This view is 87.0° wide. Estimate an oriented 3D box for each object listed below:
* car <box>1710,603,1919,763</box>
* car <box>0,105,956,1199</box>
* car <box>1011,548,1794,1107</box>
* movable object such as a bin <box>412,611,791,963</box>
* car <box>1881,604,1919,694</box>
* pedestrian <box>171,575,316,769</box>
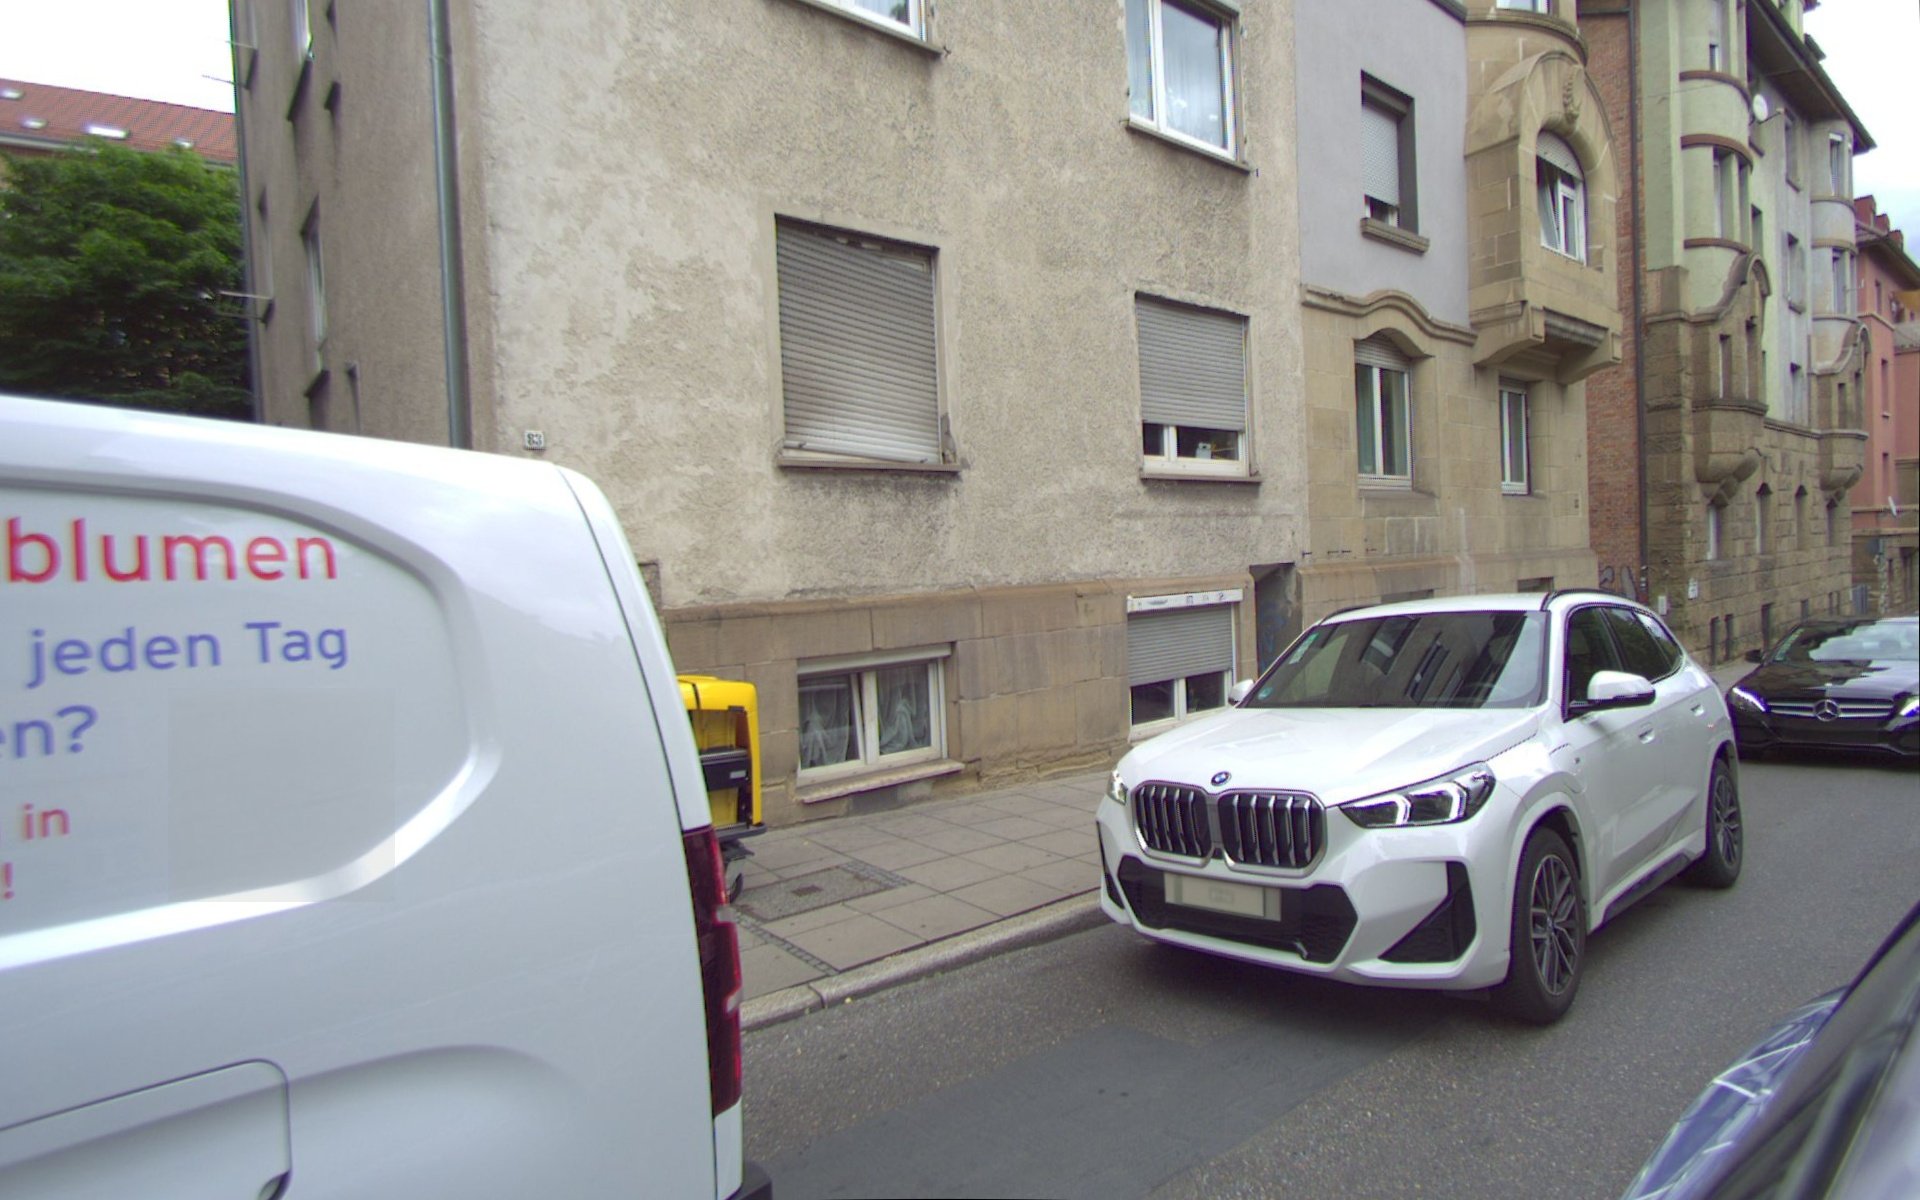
[{"bbox_3d":[9.601,0.749,10.537,4.204,1.387,1.852,0,-4,-39],"label":"car"},{"bbox_3d":[-2.539,0.621,0.553,4.927,1.848,1.855,-2,0,-36],"label":"car"},{"bbox_3d":[2.537,0.718,5.160,4.483,1.626,1.851,0,-4,-41],"label":"car"},{"bbox_3d":[-1.770,0.809,5.147,1.664,1.438,0.720,-2,1,-42],"label":"movable object such as a bin"},{"bbox_3d":[16.653,0.716,16.433,4.204,1.387,1.852,0,-4,-39],"label":"car"},{"bbox_3d":[-6.632,0.632,9.413,0.729,1.681,0.765,-3,2,-6],"label":"pedestrian"}]
